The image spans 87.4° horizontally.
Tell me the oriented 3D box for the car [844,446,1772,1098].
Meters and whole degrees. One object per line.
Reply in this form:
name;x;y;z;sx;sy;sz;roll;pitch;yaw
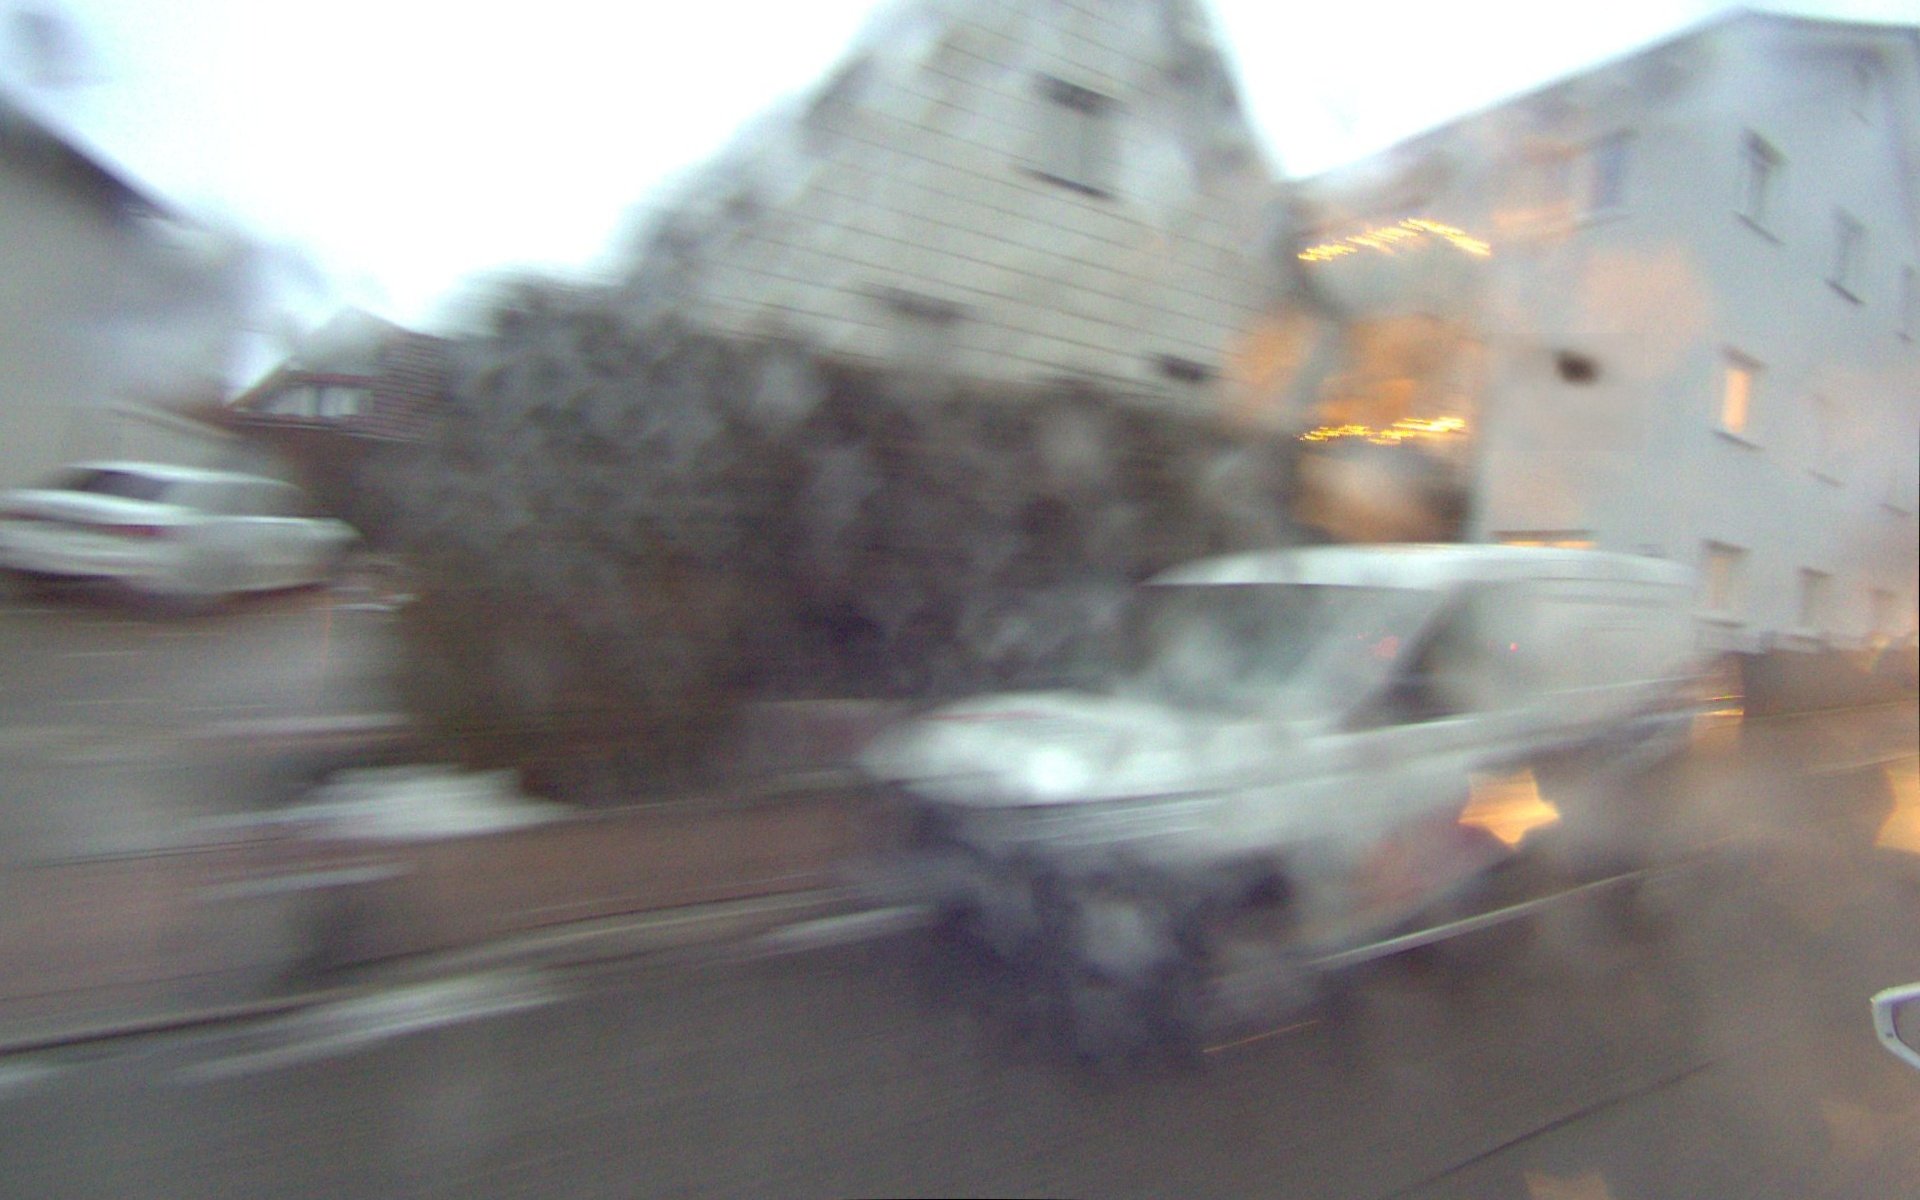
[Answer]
car;1.803;0.540;4.763;4.295;1.859;1.816;2;0;-31

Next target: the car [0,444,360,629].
car;-8.683;-0.793;11.308;1.941;1.510;3.990;7;5;-11

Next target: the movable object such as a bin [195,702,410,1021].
movable object such as a bin;-2.333;0.886;3.606;0.593;0.929;0.480;-1;5;-33
